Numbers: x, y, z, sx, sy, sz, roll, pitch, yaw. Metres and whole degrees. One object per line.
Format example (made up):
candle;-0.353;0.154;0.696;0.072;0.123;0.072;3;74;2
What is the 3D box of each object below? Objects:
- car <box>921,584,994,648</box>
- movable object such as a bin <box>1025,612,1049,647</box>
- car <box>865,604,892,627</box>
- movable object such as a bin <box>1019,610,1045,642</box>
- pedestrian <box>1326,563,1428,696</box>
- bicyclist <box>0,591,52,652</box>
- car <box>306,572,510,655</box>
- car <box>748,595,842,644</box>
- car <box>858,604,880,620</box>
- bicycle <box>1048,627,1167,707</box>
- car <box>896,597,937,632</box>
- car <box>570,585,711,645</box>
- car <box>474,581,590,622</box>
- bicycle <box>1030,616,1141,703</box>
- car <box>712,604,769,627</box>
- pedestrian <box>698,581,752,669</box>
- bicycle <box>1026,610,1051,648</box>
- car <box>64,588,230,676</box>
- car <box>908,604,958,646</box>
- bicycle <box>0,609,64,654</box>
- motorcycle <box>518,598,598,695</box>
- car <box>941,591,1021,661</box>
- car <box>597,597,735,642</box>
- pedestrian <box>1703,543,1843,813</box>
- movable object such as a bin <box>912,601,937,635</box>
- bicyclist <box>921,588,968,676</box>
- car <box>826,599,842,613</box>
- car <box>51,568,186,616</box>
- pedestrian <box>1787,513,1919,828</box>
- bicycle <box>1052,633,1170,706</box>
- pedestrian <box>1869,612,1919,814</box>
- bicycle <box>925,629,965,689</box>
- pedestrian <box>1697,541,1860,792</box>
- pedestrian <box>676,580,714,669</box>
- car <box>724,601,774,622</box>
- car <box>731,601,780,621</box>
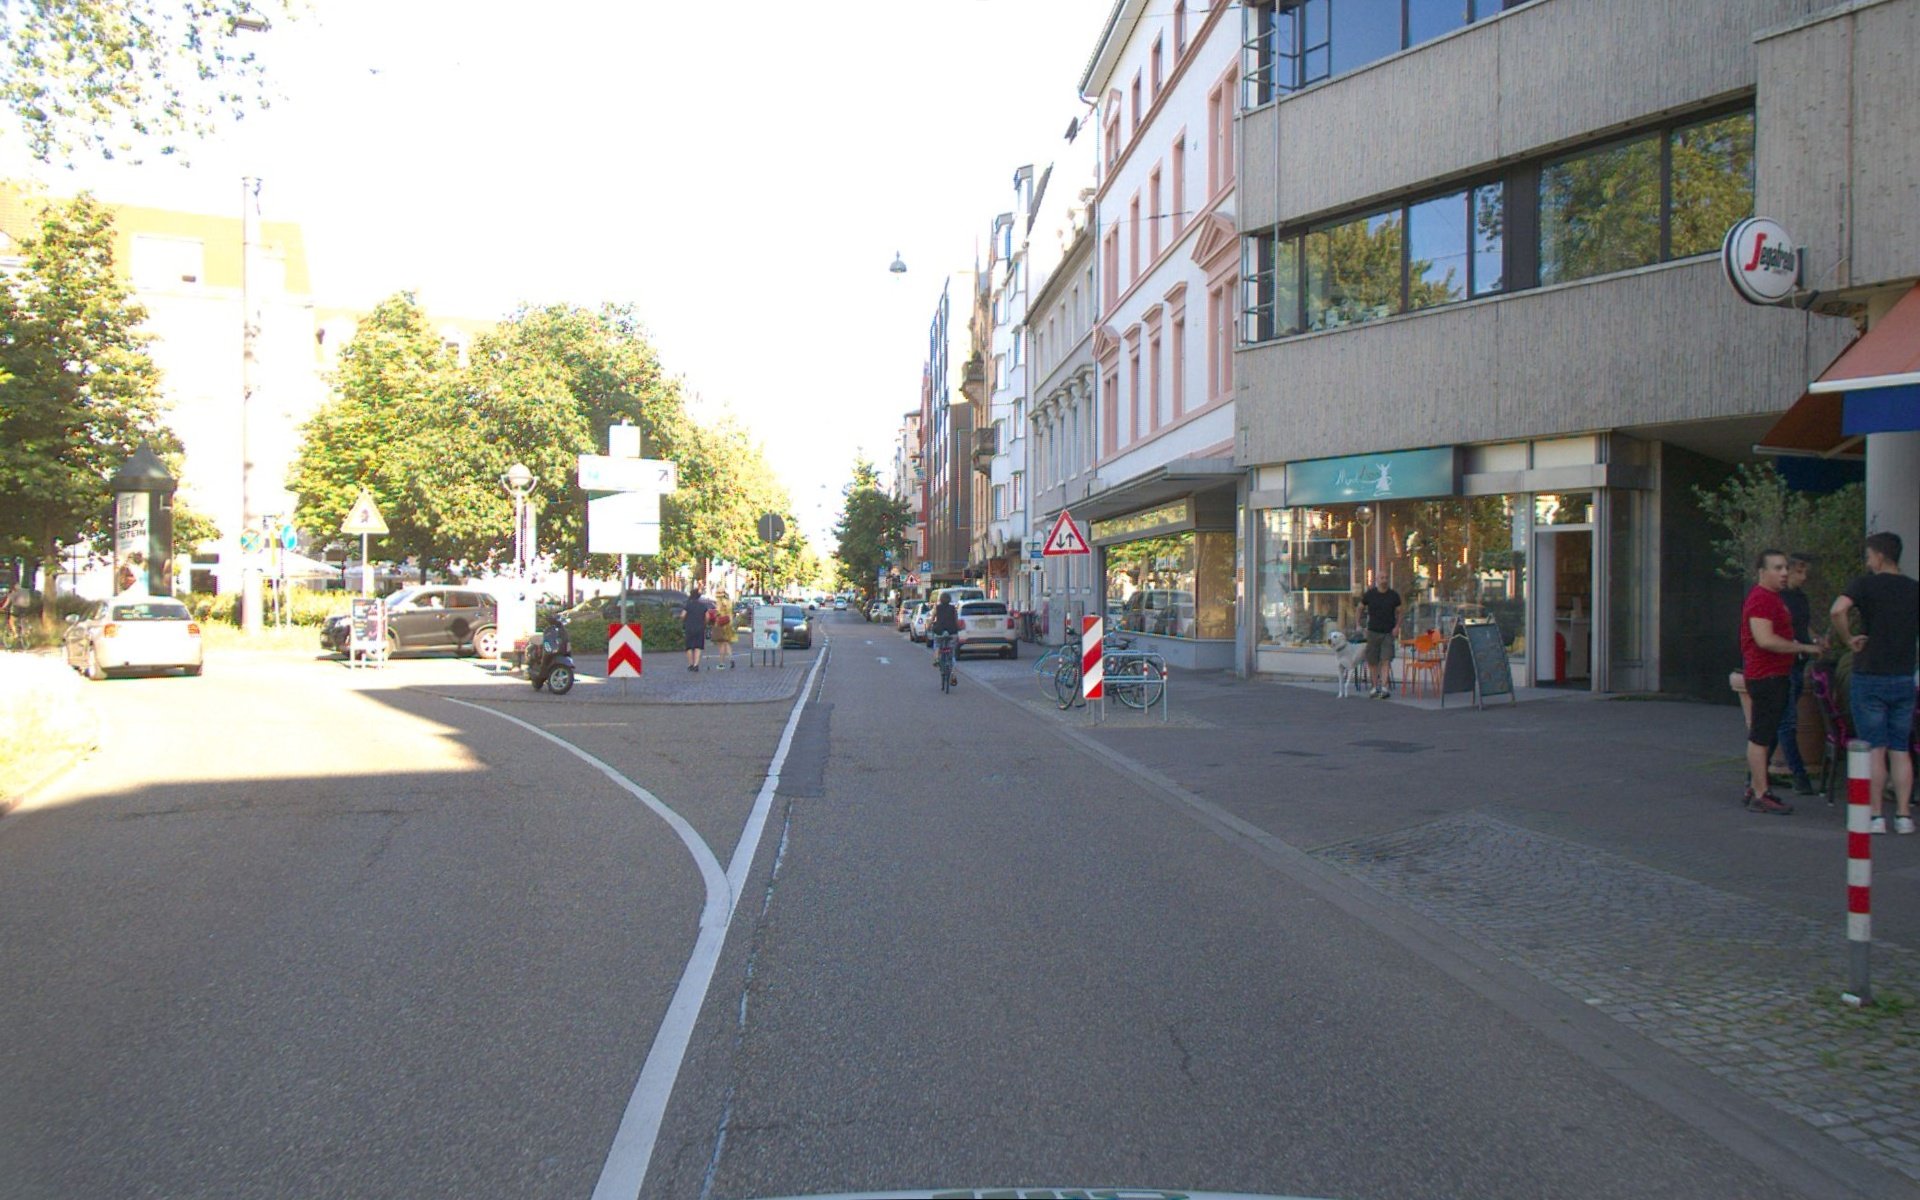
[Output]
car;-0.148;0.519;55.384;1.955;2.040;5.111;1;0;-6
movable object such as a bin;2.614;1.004;56.484;0.753;1.181;0.578;2;-2;-2
car;-6.232;1.201;126.912;1.953;1.646;4.008;2;-1;-2
movable object such as a bin;2.510;0.908;57.757;0.779;1.095;0.660;-3;-1;-3
pedestrian;5.766;0.409;22.928;1.109;1.773;1.022;2;-2;-2
bicyclist;-24.186;0.555;42.785;0.809;1.534;0.928;0;-2;38
car;-11.929;0.304;35.861;3.835;1.712;1.785;1;-1;-41
car;-5.237;0.670;53.276;1.870;1.442;4.814;1;-1;8
car;-8.766;1.169;159.126;1.954;1.478;3.996;1;0;-5
bicycle;2.121;0.958;23.807;1.643;1.081;0.344;1;-2;12
car;-2.292;0.798;85.859;1.862;1.704;4.820;2;-1;-5
car;-9.785;0.453;50.618;3.929;1.697;1.988;2;-1;-21
car;-21.328;0.088;82.477;5.210;1.831;2.141;3;-2;-31
bicycle;1.943;0.913;25.580;1.587;1.265;0.659;1;-2;16
car;-15.750;1.137;118.735;3.908;1.534;1.998;2;-1;-4
pedestrian;-4.728;0.502;33.295;0.787;1.729;0.669;1;-2;26
bicycle;2.602;0.971;54.427;0.473;1.206;1.721;-2;-2;14
car;-14.717;0.570;29.835;1.978;1.448;4.143;3;-2;-36
car;-1.074;0.975;64.669;1.685;1.541;3.579;-2;-1;-5
bicycle;-24.145;0.799;42.715;2.533;1.087;0.809;1;-2;38
motorcycle;-6.044;0.689;24.790;0.737;1.398;1.745;2;-2;-27
car;0.510;0.736;45.362;1.711;1.769;4.955;2;-1;-4
car;-11.001;0.739;61.942;4.779;1.514;1.748;2;-2;-28
pedestrian;5.462;0.514;11.140;0.572;1.744;0.697;2;-2;-1
movable object such as a bin;-1.623;0.827;75.390;1.051;1.482;1.492;-2;1;0
bicyclist;-0.275;0.553;28.821;0.770;1.478;1.095;2;-1;-1
car;-15.641;0.748;205.317;1.833;1.583;3.996;2;-1;-4
car;-39.570;-0.355;77.838;5.519;2.049;1.798;3;-2;-31
pedestrian;5.683;0.429;10.320;0.657;1.888;0.610;-2;-1;-1
bicycle;2.207;1.006;24.180;1.667;1.022;0.428;1;-2;12
pedestrian;6.292;0.704;10.526;0.617;1.258;0.624;-1;-1;-1
bicycle;-0.277;1.013;28.772;0.639;0.975;2.697;2;-1;-1
pedestrian;5.943;0.458;12.013;0.833;1.740;0.712;-1;0;-33
pedestrian;-5.193;0.482;32.459;0.623;1.701;0.692;1;-2;-4
car;-17.155;0.952;134.616;3.908;1.534;1.893;2;-1;-4
car;-17.195;0.954;139.247;3.909;1.534;1.998;2;-1;-5
